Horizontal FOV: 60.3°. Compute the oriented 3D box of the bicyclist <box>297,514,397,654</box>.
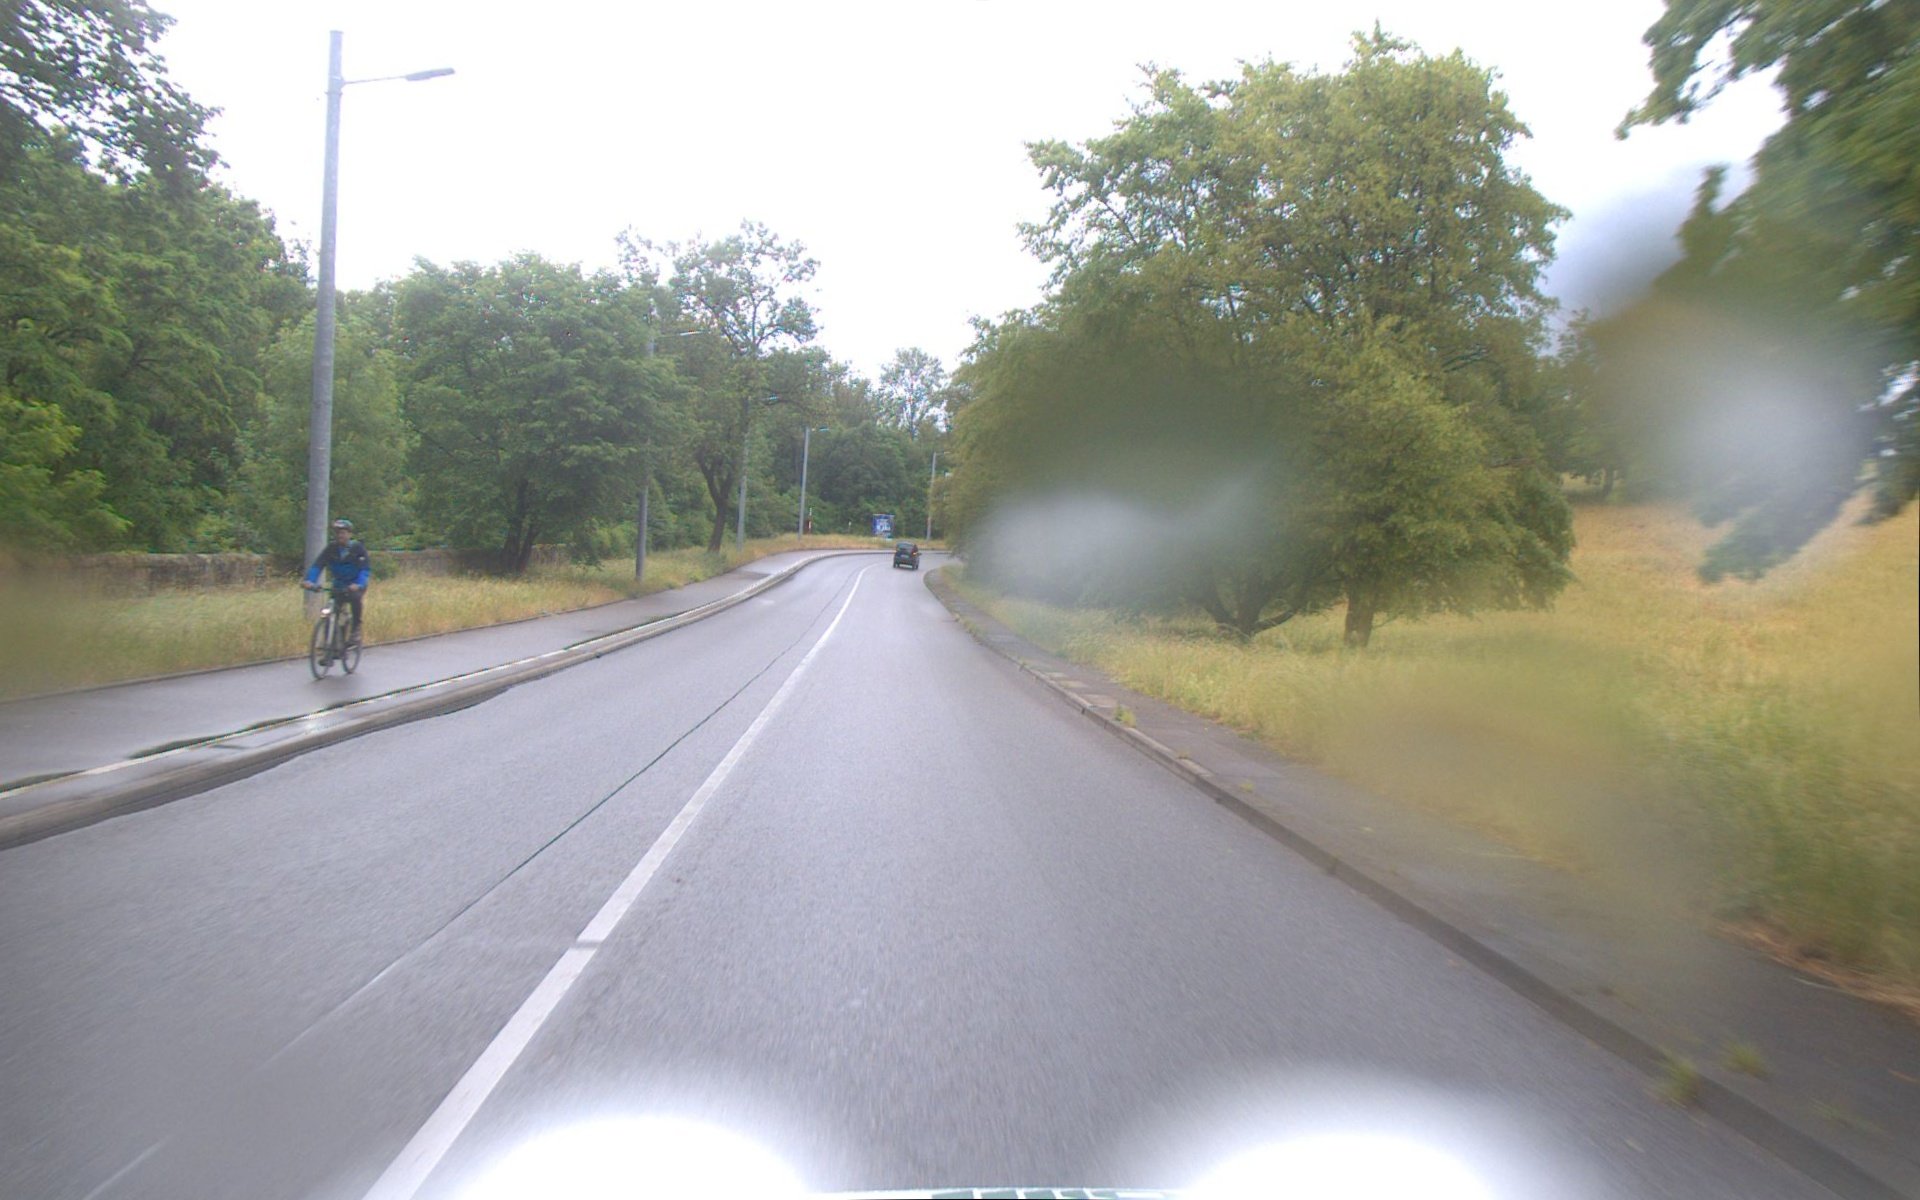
[{"bbox_3d":[-7.383,-0.203,19.963,0.694,1.582,1.170,5,1,-3],"label":"bicyclist"}]

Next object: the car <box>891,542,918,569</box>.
[{"bbox_3d":[-4.046,-3.237,120.708,1.706,1.746,4.000,4,1,0],"label":"car"}]

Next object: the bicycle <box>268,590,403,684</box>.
[{"bbox_3d":[-7.430,0.409,19.828,0.710,0.958,2.549,5,1,-3],"label":"bicycle"}]
